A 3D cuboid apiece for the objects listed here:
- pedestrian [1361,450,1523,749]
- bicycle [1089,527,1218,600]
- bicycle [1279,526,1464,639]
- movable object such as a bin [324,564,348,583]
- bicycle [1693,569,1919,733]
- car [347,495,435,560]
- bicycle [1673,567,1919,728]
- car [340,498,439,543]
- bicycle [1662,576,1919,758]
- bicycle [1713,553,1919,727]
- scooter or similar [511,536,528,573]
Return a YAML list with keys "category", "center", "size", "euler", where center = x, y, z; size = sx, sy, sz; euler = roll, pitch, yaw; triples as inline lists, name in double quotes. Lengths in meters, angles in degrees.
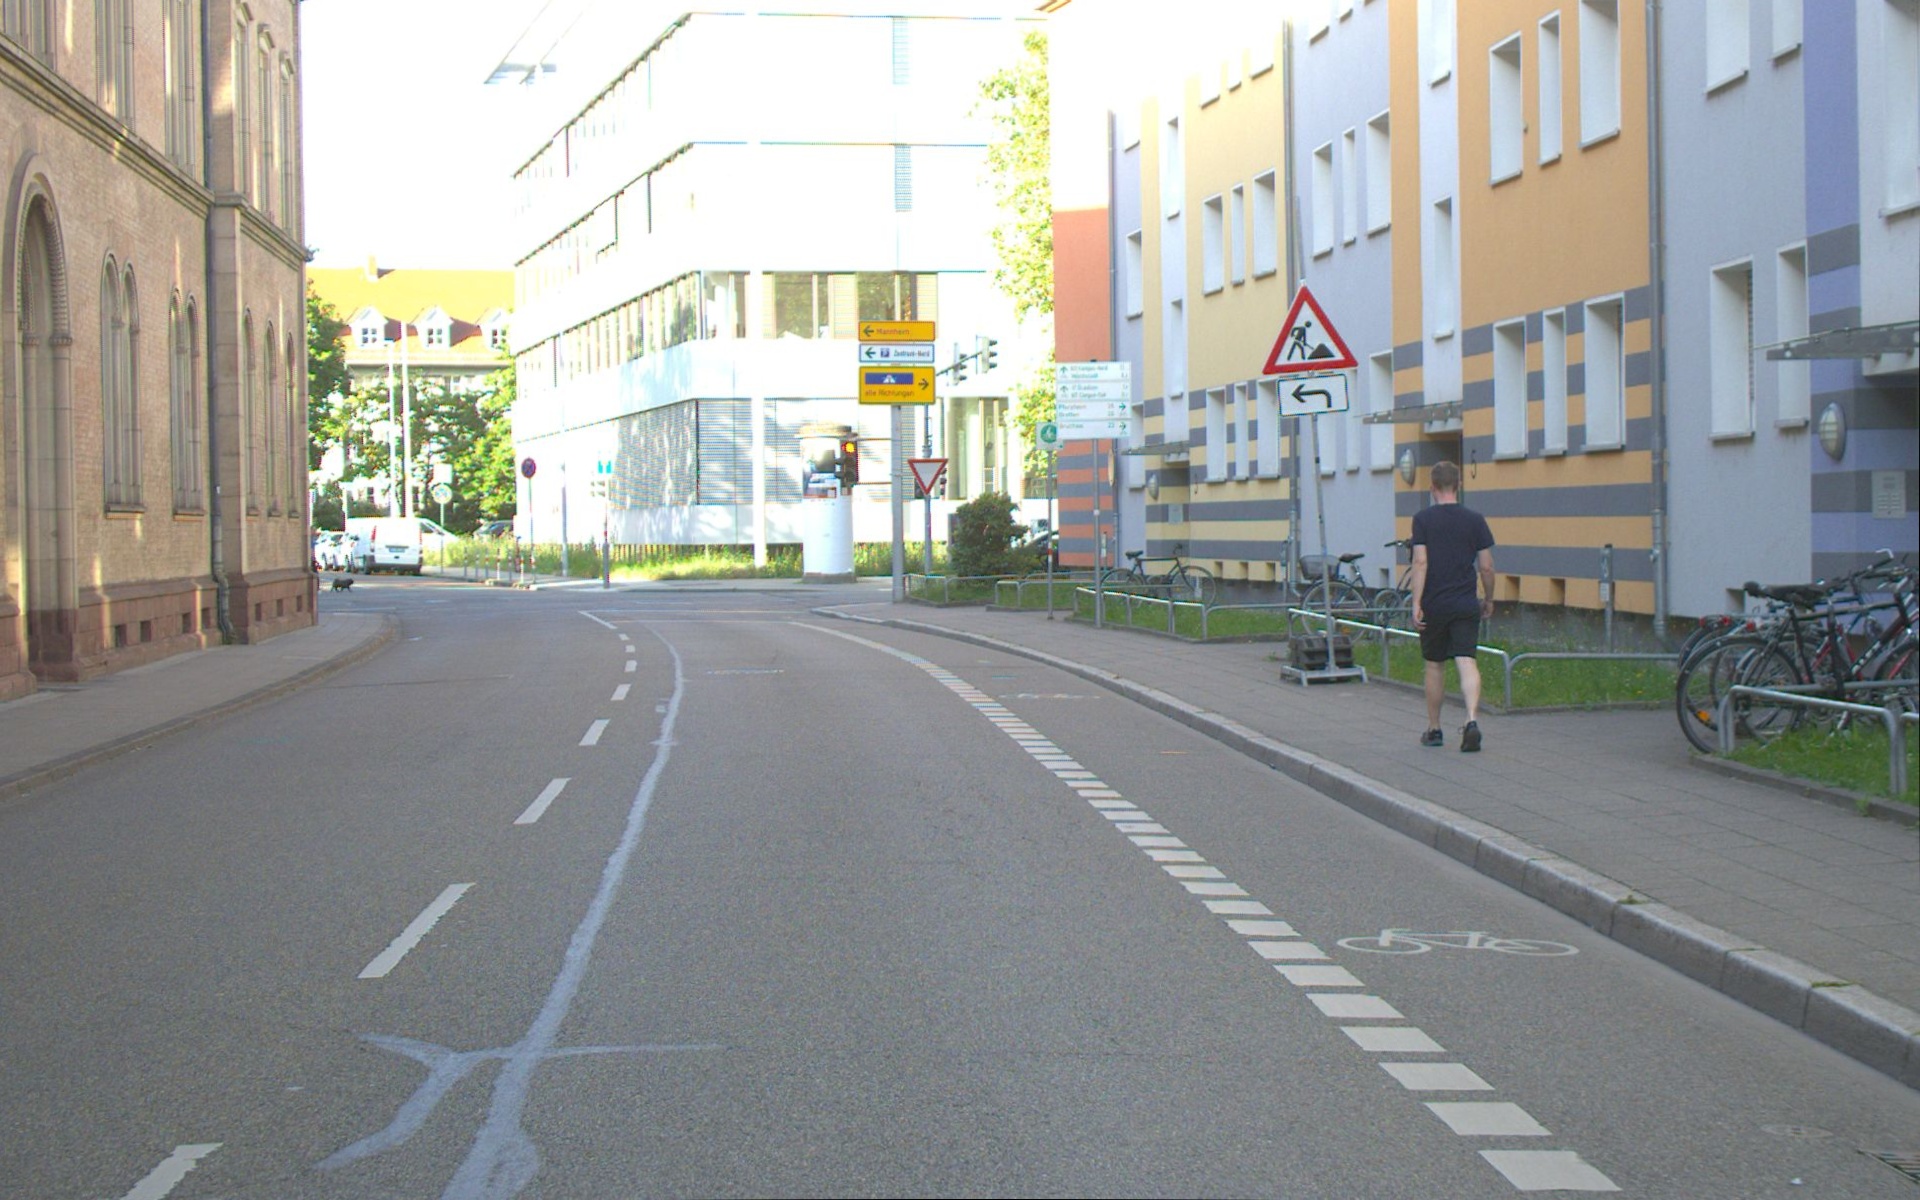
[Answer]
- category: "pedestrian"
  center: [2.954, -0.017, 21.166]
  size: [0.696, 1.754, 1.189]
  euler: [-3, 2, -3]
- category: "bicycle"
  center: [2.803, -0.532, 49.786]
  size: [1.753, 1.000, 0.613]
  euler: [-2, 1, -8]
- category: "bicycle"
  center: [4.258, -0.188, 35.631]
  size: [1.810, 1.133, 0.552]
  euler: [-1, 1, -4]
- category: "movable object such as a bin"
  center: [-16.152, -0.687, 88.993]
  size: [0.589, 0.479, 0.286]
  euler: [-1, 2, -19]
- category: "bicycle"
  center: [5.349, 0.298, 20.768]
  size: [1.748, 0.943, 0.326]
  euler: [-1, 1, -2]
- category: "car"
  center: [-19.484, -2.465, 117.540]
  size: [2.423, 2.104, 5.233]
  euler: [1, 1, -15]
- category: "bicycle"
  center: [5.310, 0.284, 21.173]
  size: [1.748, 0.943, 0.335]
  euler: [-2, 1, -3]
- category: "car"
  center: [-25.671, -3.552, 154.644]
  size: [3.986, 1.908, 1.920]
  euler: [1, 1, -26]
- category: "bicycle"
  center: [4.815, 0.359, 18.944]
  size: [1.748, 0.943, 0.552]
  euler: [-2, 1, -3]
- category: "bicycle"
  center: [5.236, 0.215, 19.585]
  size: [1.748, 0.943, 0.552]
  euler: [-2, 1, -3]
- category: "scooter or similar"
  center: [-12.636, -1.303, 98.605]
  size: [0.325, 1.056, 1.143]
  euler: [-1, 2, -15]
